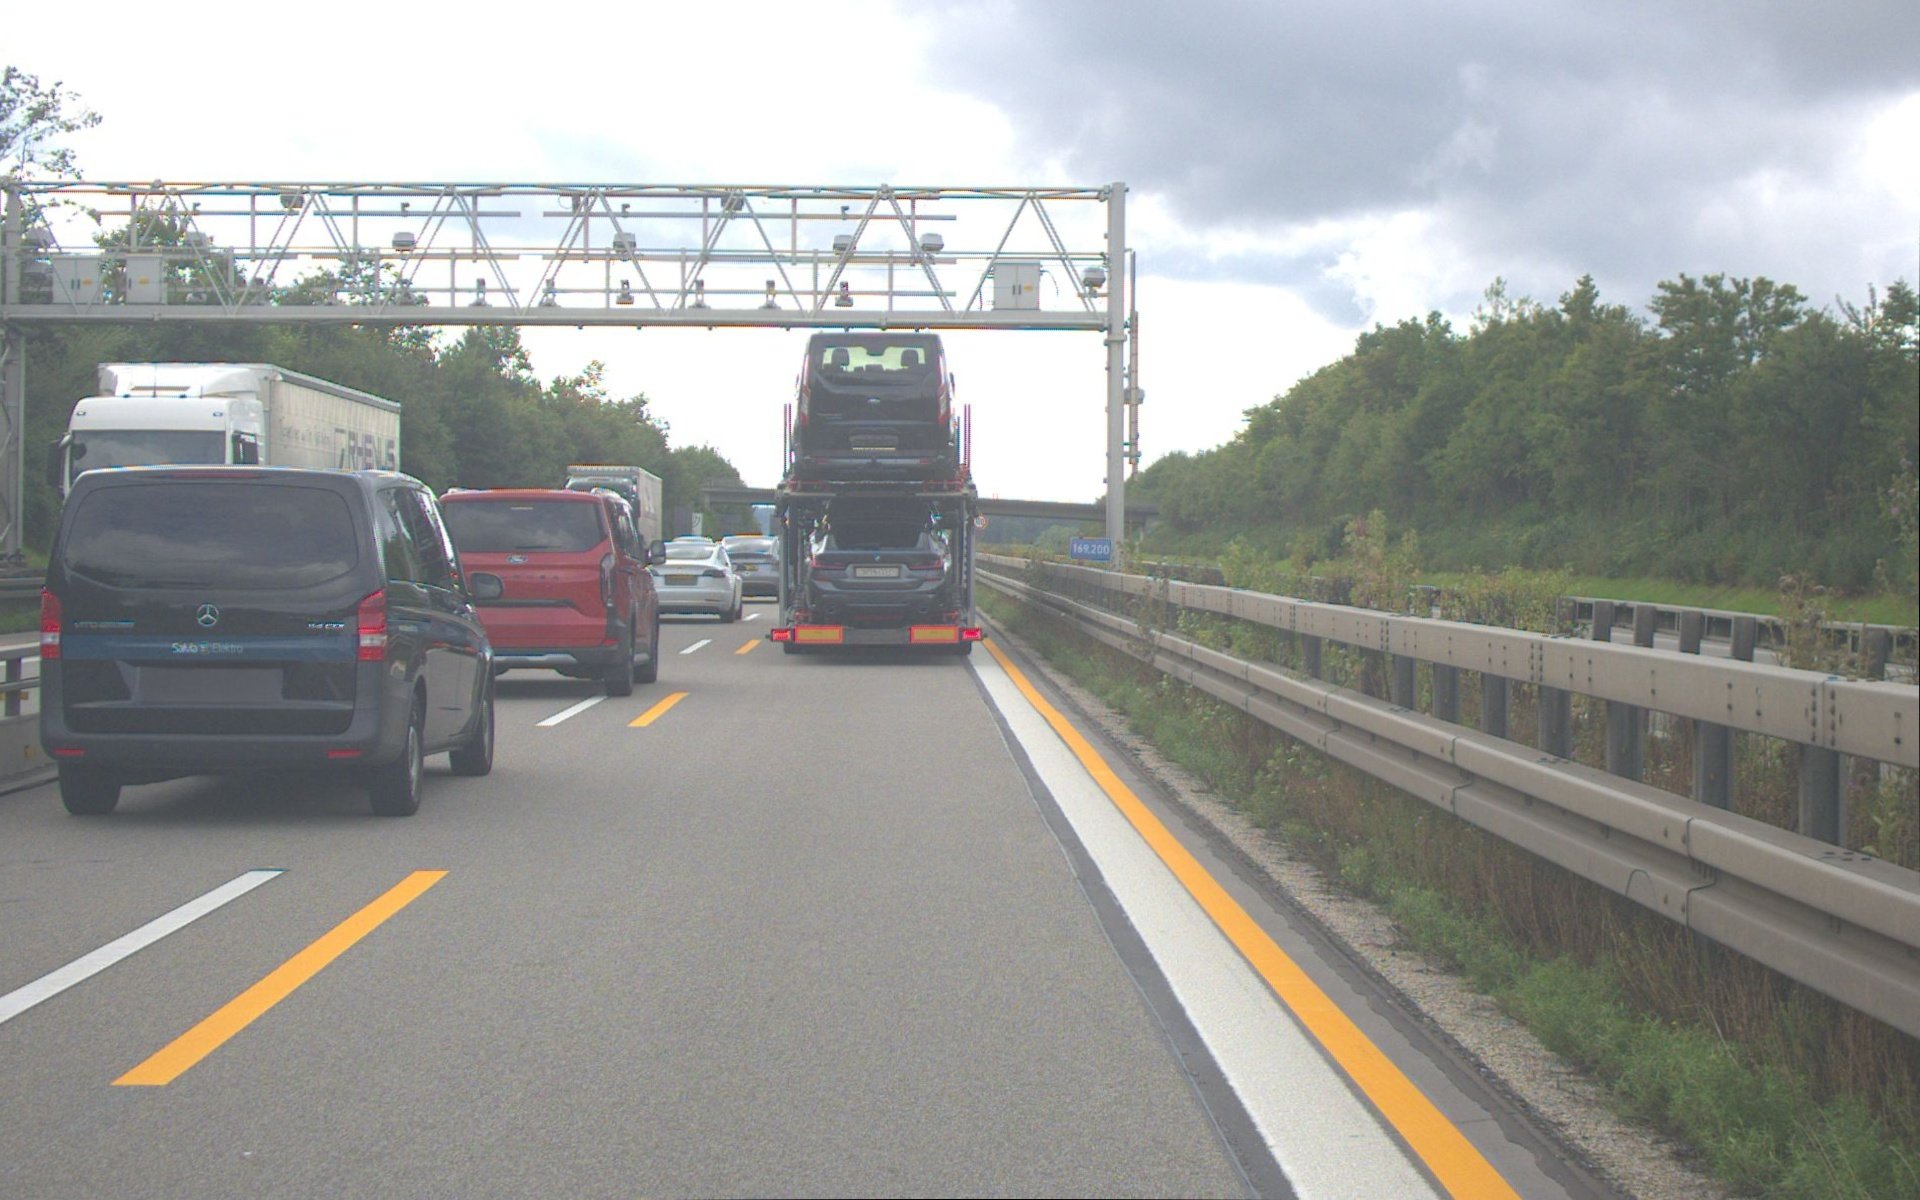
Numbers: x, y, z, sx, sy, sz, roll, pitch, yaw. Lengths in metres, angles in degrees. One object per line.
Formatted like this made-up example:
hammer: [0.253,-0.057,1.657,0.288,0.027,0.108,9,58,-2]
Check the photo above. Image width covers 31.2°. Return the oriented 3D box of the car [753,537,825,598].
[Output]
car: [-5.005,-0.958,100.990,2.031,1.751,4.578,0,1,-2]

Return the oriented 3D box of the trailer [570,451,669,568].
trailer: [-12.752,-3.405,129.703,2.598,4.140,13.993,1,1,-1]

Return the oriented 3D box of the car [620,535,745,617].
car: [-5.020,-0.453,62.622,2.031,1.426,4.578,0,1,-2]

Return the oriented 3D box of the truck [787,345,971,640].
truck: [-1.156,-1.543,50.916,2.515,4.091,5.685,1,1,0]

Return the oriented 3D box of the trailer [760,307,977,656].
trailer: [-1.117,-1.475,46.157,2.515,4.091,11.114,1,1,0]

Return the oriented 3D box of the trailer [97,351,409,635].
trailer: [-11.559,-1.754,57.754,2.598,4.140,13.993,1,1,-1]

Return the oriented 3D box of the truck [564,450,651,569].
truck: [-12.599,-3.236,123.121,2.598,4.140,5.621,1,1,-1]

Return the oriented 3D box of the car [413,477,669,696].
car: [-4.044,-0.155,33.872,2.031,2.007,4.578,0,1,-1]

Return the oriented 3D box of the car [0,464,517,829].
car: [-3.904,0.192,20.092,1.993,1.837,5.610,0,1,-1]

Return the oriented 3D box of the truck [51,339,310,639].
truck: [-11.399,-1.612,50.731,2.598,4.140,5.621,1,1,-1]

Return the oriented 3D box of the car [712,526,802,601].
car: [-4.855,-0.897,82.756,2.031,1.751,4.578,0,1,-2]
